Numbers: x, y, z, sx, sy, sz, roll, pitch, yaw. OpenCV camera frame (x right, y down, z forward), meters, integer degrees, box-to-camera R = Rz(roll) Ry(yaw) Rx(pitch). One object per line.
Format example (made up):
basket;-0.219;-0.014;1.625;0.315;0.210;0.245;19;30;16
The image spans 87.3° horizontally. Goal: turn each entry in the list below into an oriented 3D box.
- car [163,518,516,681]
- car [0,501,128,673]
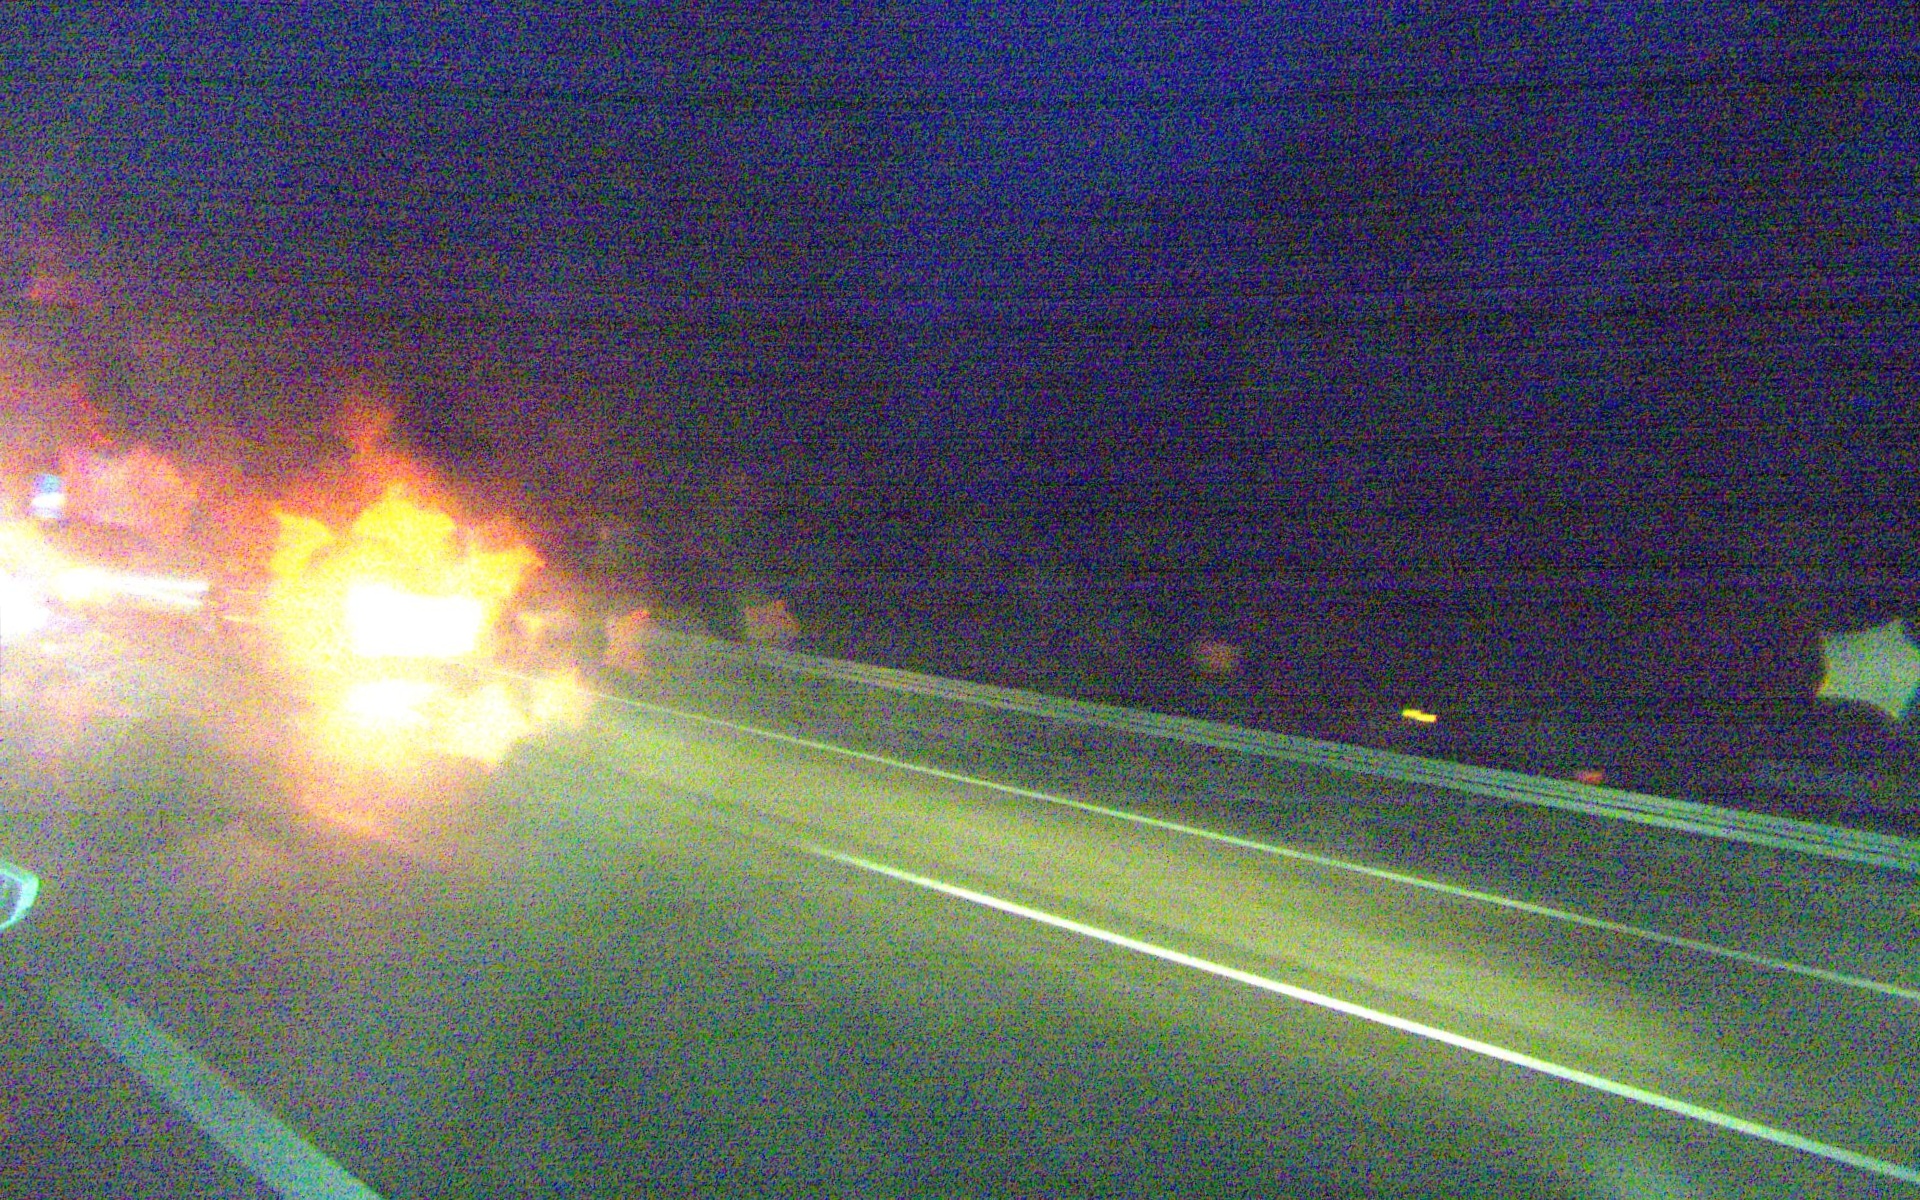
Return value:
car;-8.487;-0.041;13.650;4.878;1.503;1.898;7;-2;30
car;-9.705;-0.295;9.465;3.728;1.429;1.616;6;-2;30
